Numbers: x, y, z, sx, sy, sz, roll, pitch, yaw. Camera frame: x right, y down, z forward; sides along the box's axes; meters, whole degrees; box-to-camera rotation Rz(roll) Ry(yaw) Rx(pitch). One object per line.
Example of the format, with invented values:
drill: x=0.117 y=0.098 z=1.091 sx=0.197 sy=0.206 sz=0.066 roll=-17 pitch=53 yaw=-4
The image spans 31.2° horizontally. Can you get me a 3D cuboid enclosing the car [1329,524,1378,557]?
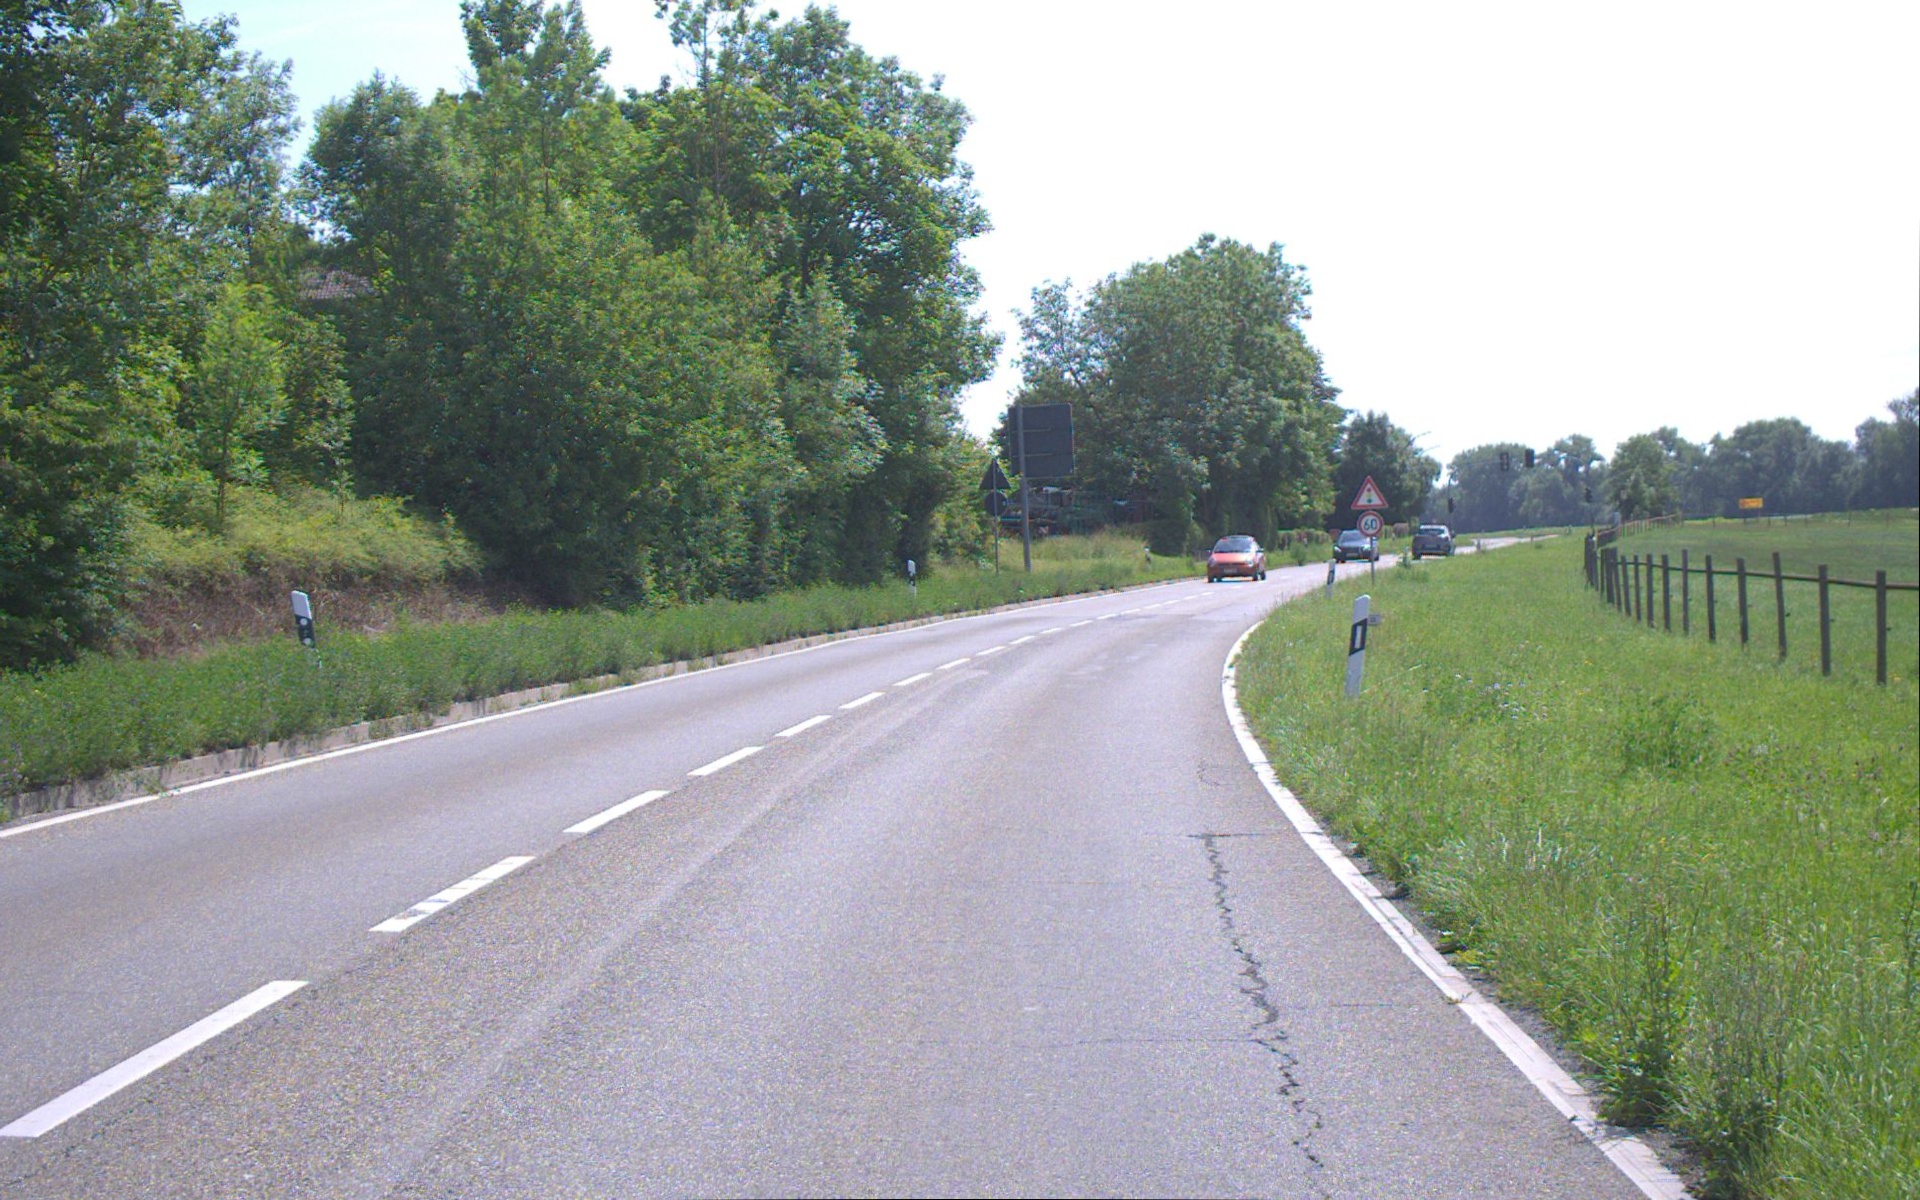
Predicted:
car: x=17.892 y=-2.691 z=156.168 sx=1.822 sy=1.464 sz=3.998 roll=1 pitch=1 yaw=12

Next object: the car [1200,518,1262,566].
car: x=8.556 y=-1.843 z=108.307 sx=1.821 sy=1.464 sz=3.999 roll=1 pitch=1 yaw=6

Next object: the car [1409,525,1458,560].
car: x=21.872 y=-2.661 z=158.726 sx=1.994 sy=1.568 sz=3.998 roll=1 pitch=1 yaw=11
